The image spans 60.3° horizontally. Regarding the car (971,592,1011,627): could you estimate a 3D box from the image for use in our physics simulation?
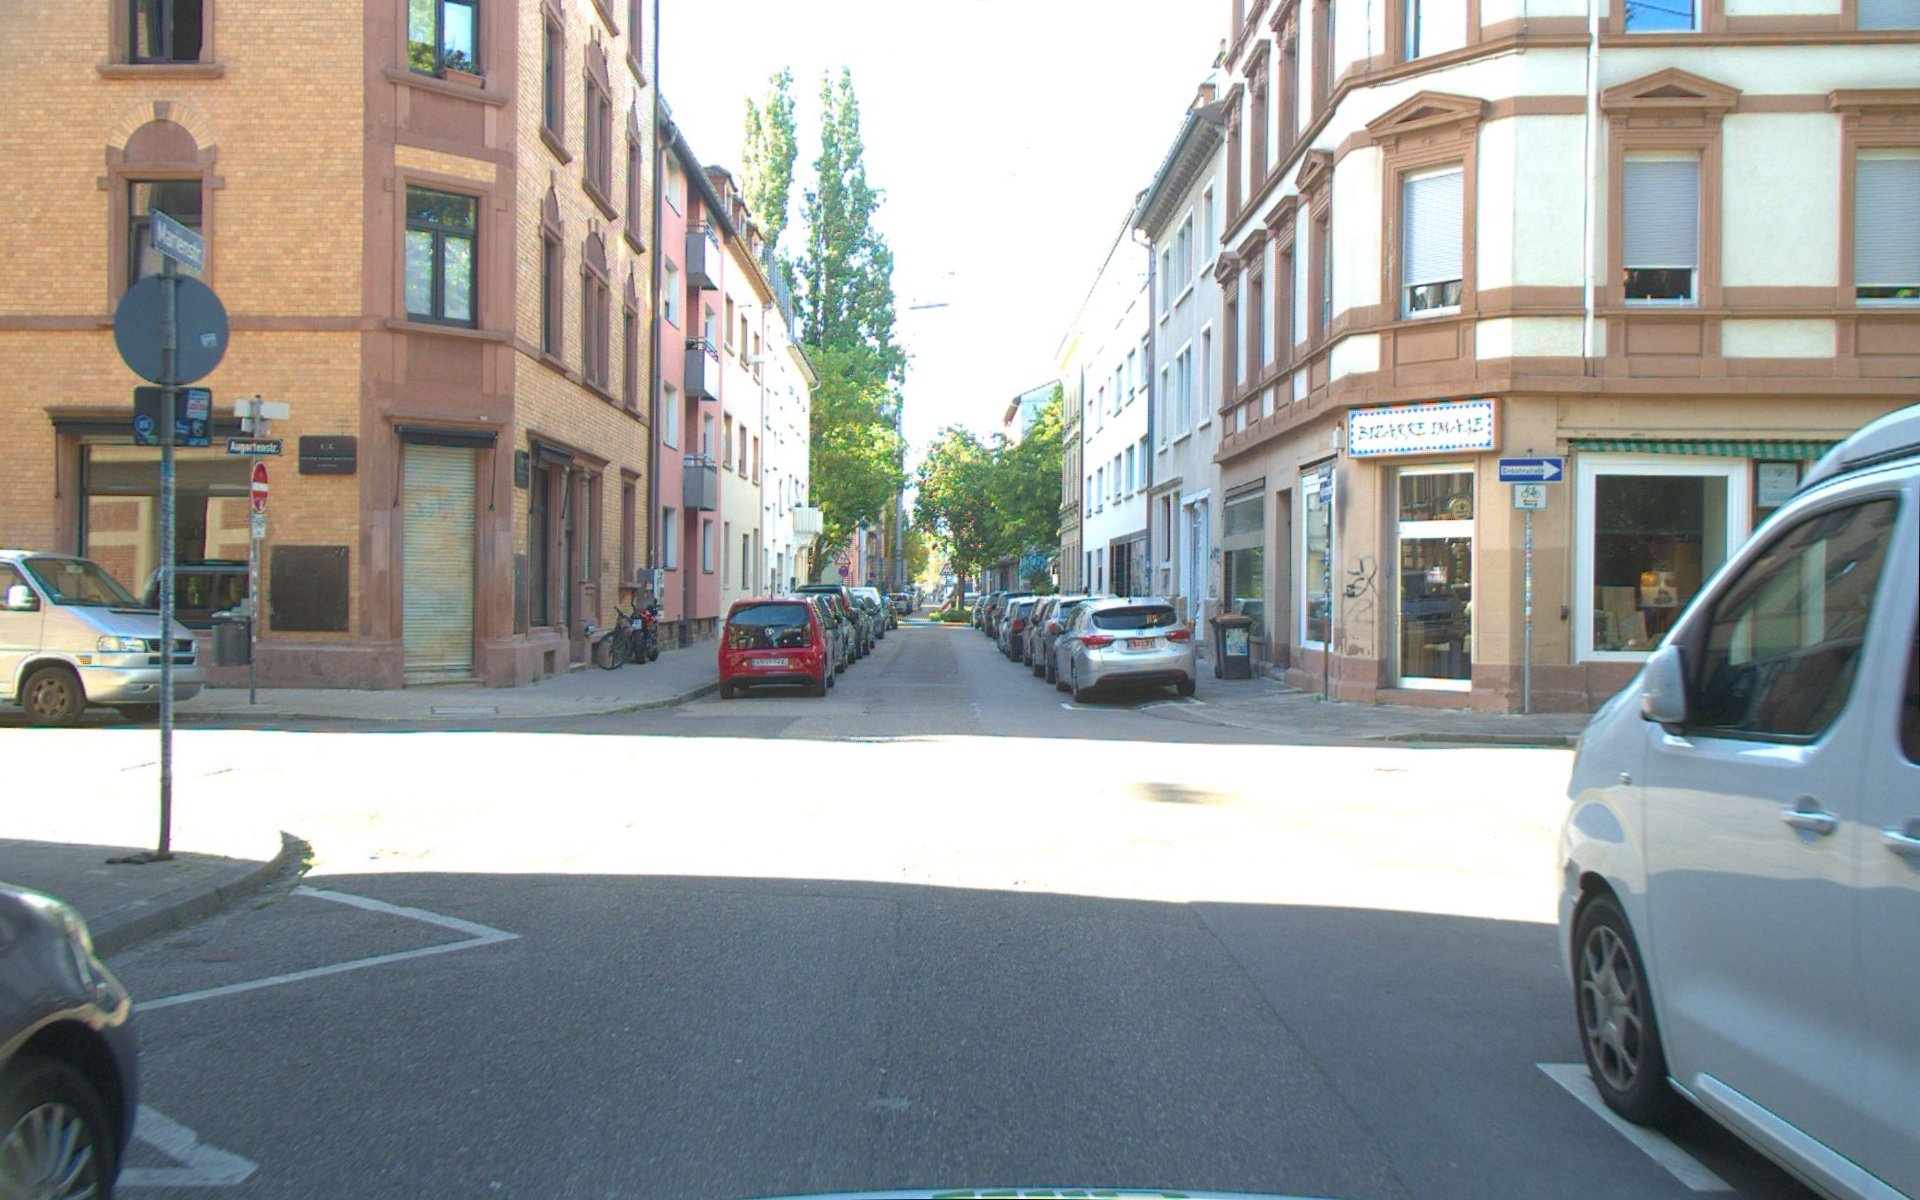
[{"bbox_3d":[1.411,0.415,76.760,1.642,1.513,4.093,-2,0,-2],"label":"car"}]

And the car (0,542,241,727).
[{"bbox_3d":[-10.789,0.380,18.463,4.612,1.927,2.027,0,-2,4],"label":"car"}]

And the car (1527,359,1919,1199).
[{"bbox_3d":[2.805,0.527,3.105,1.875,2.033,4.792,-2,0,1],"label":"car"}]

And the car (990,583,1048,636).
[{"bbox_3d":[1.996,0.313,57.240,1.642,1.655,4.249,-4,0,-2],"label":"car"}]

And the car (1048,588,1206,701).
[{"bbox_3d":[2.481,0.613,25.547,1.709,1.533,4.354,-2,0,-4],"label":"car"}]

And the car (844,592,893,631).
[{"bbox_3d":[-3.779,0.465,68.992,1.635,1.495,3.821,-2,0,2],"label":"car"}]

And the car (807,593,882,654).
[{"bbox_3d":[-3.176,0.617,46.170,1.707,1.533,4.346,-2,0,1],"label":"car"}]

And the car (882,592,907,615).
[{"bbox_3d":[-4.527,0.213,114.183,1.642,1.513,4.093,-2,0,-2],"label":"car"}]

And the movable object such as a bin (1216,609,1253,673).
[{"bbox_3d":[4.648,0.687,28.049,0.503,1.058,0.619,-1,0,0],"label":"movable object such as a bin"}]

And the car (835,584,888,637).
[{"bbox_3d":[-3.552,0.365,60.117,1.729,1.816,4.038,-2,0,-2],"label":"car"}]

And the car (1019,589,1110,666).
[{"bbox_3d":[2.215,0.558,36.039,1.566,1.533,4.183,-2,0,-2],"label":"car"}]

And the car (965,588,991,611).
[{"bbox_3d":[1.271,-0.050,115.855,1.642,1.513,3.637,-2,0,-2],"label":"car"}]

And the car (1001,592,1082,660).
[{"bbox_3d":[1.957,0.591,40.594,1.642,1.533,3.936,-2,0,-2],"label":"car"}]

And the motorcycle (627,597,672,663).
[{"bbox_3d":[-5.997,0.567,31.987,0.522,1.227,1.908,0,0,0],"label":"motorcycle"}]

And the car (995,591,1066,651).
[{"bbox_3d":[1.890,0.544,45.544,1.642,1.533,3.936,-2,0,-2],"label":"car"}]

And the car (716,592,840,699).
[{"bbox_3d":[-2.791,0.652,25.922,1.595,1.507,3.600,-2,0,-2],"label":"car"}]

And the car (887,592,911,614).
[{"bbox_3d":[-4.407,0.207,119.437,1.642,1.513,4.093,-2,0,-2],"label":"car"}]

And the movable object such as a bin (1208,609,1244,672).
[{"bbox_3d":[4.639,0.703,28.819,0.503,1.058,0.594,-1,0,0],"label":"movable object such as a bin"}]

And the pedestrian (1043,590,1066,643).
[{"bbox_3d":[3.057,0.522,53.315,0.671,1.689,0.717,-1,0,-1],"label":"pedestrian"}]

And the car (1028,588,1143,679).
[{"bbox_3d":[2.278,0.569,30.947,1.708,1.533,4.020,-2,0,-2],"label":"car"}]

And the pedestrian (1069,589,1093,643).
[{"bbox_3d":[3.878,0.506,53.024,0.671,1.689,0.717,-1,0,-1],"label":"pedestrian"}]

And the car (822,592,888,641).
[{"bbox_3d":[-3.484,0.538,55.588,1.638,1.512,3.994,-2,0,4],"label":"car"}]

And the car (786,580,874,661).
[{"bbox_3d":[-3.150,0.453,40.961,1.707,1.842,4.672,-2,0,1],"label":"car"}]

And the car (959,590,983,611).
[{"bbox_3d":[0.809,0.015,122.169,1.642,1.513,3.637,-2,0,-2],"label":"car"}]

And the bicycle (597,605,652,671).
[{"bbox_3d":[-5.981,0.657,29.569,0.522,1.092,1.891,4,0,0],"label":"bicycle"}]

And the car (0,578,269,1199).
[{"bbox_3d":[-2.514,0.745,2.089,1.658,1.507,3.972,-2,0,-2],"label":"car"}]

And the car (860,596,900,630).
[{"bbox_3d":[-3.546,0.553,73.559,1.636,1.385,4.048,-2,0,-1],"label":"car"}]

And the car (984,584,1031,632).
[{"bbox_3d":[1.760,0.323,62.787,1.641,1.711,4.094,-2,0,0],"label":"car"}]

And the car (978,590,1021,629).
[{"bbox_3d":[1.686,0.397,71.861,1.642,1.588,3.795,-2,0,-2],"label":"car"}]

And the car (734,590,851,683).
[{"bbox_3d":[-3.037,0.613,30.644,1.660,1.547,4.096,-2,0,1],"label":"car"}]

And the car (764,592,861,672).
[{"bbox_3d":[-3.105,0.635,35.466,1.622,1.547,3.945,-2,0,1],"label":"car"}]
